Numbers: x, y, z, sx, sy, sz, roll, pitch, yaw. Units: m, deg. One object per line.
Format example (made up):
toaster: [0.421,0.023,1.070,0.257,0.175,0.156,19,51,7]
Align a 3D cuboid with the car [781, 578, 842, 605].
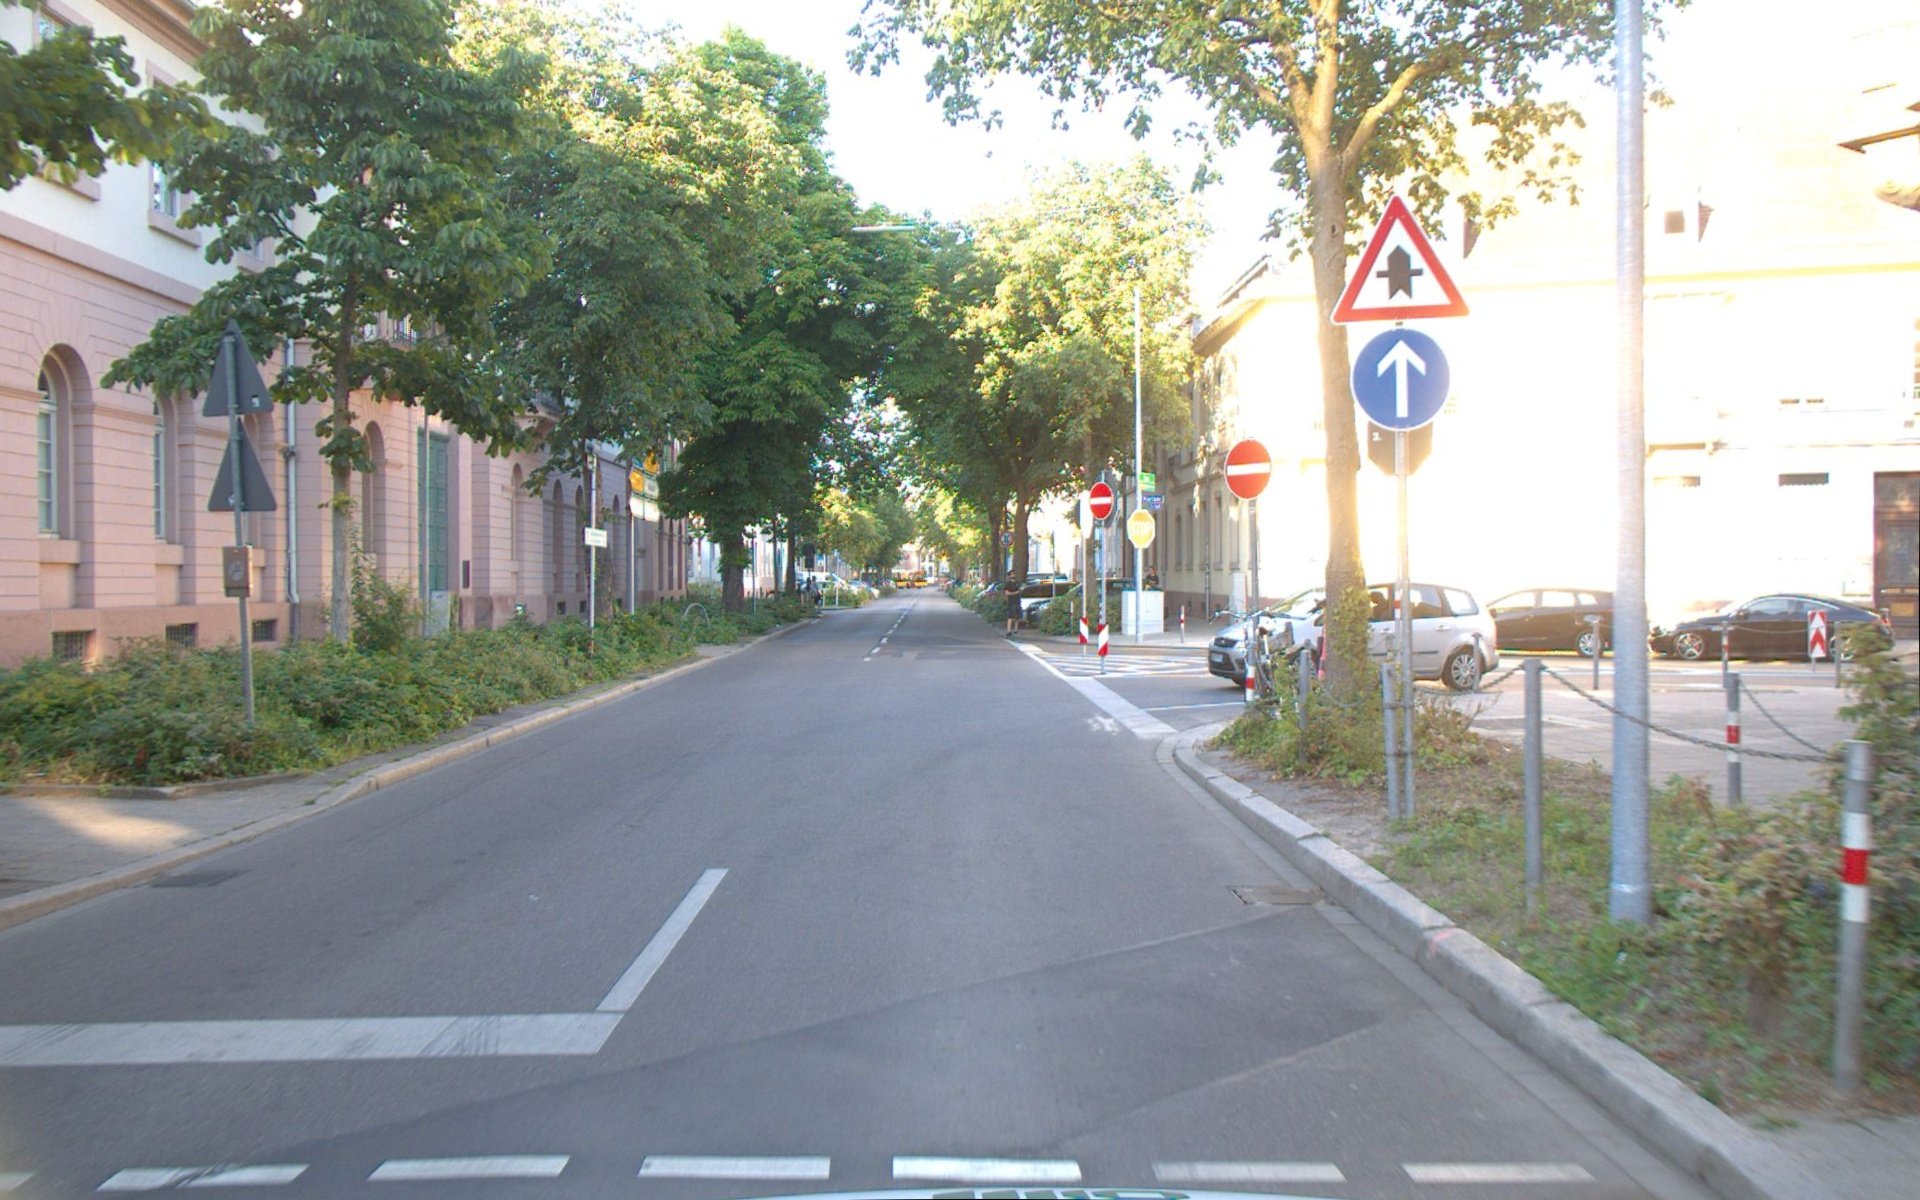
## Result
car: [-9.042,-0.542,101.080,3.653,1.534,1.871,-1,1,-5]

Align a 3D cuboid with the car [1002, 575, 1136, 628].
car: [3.447,0.028,52.836,4.107,1.506,1.852,-2,1,-1]

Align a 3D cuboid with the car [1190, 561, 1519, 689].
car: [5.608,0.310,23.578,4.273,1.682,1.875,-1,1,-20]

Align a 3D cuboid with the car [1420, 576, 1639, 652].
car: [12.337,0.279,35.814,4.321,1.569,1.866,0,1,25]

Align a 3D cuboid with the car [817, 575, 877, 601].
car: [-9.756,-1.040,142.782,4.960,2.119,2.263,-1,1,0]

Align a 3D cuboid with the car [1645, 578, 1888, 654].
car: [16.563,0.310,34.213,4.411,1.393,1.776,0,4,23]

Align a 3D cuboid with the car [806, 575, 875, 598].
car: [-9.116,-1.018,126.538,4.959,1.645,2.264,-1,1,2]

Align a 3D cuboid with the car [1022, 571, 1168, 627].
car: [3.868,-0.048,47.878,4.025,1.516,1.850,0,2,-2]

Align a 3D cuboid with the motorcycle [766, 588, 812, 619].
motorcycle: [-7.363,0.156,71.321,1.880,1.280,0.590,-1,1,-2]

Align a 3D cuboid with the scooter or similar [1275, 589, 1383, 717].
scooter or similar: [3.836,0.524,17.161,1.265,1.265,0.498,-1,1,-45]

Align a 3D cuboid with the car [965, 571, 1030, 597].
car: [2.642,-1.135,116.904,4.499,1.792,2.222,-1,1,0]

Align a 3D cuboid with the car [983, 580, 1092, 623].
car: [2.887,0.050,62.313,3.934,1.506,1.780,-1,1,-2]

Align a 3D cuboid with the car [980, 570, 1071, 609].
car: [2.895,-0.474,73.639,3.934,1.651,1.780,-1,1,-2]

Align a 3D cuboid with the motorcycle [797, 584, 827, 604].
motorcycle: [-8.212,-0.337,91.906,1.603,1.087,0.656,0,1,-1]

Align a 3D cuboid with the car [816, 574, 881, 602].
car: [-8.855,-0.997,131.948,4.960,2.119,2.263,-1,1,0]

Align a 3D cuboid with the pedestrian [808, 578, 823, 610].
pedestrian: [-6.609,-0.279,75.767,0.641,1.419,0.607,1,0,-1]

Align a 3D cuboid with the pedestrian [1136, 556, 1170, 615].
pedestrian: [5.808,-0.450,49.675,0.924,1.736,0.782,-1,2,0]

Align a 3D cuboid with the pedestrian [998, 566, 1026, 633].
pedestrian: [1.489,-0.006,47.401,0.778,1.901,0.752,0,0,1]

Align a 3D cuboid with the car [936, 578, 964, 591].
car: [-1.427,-2.232,238.749,3.902,1.870,2.002,0,1,6]

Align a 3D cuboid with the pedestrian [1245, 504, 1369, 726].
pedestrian: [3.519,0.143,16.863,1.022,2.184,1.063,1,0,-1]

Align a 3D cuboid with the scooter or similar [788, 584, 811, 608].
scooter or similar: [-7.408,-0.186,76.430,0.877,1.108,0.846,0,1,8]

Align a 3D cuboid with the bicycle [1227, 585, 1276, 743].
bicycle: [2.717,0.566,15.409,0.407,1.396,1.289,-1,1,10]

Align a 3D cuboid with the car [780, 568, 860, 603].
car: [-8.982,-0.950,106.472,4.962,2.119,2.262,-1,1,-2]

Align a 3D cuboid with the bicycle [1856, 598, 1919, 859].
bicycle: [4.639,0.588,6.809,0.513,1.172,2.247,-1,1,-5]
